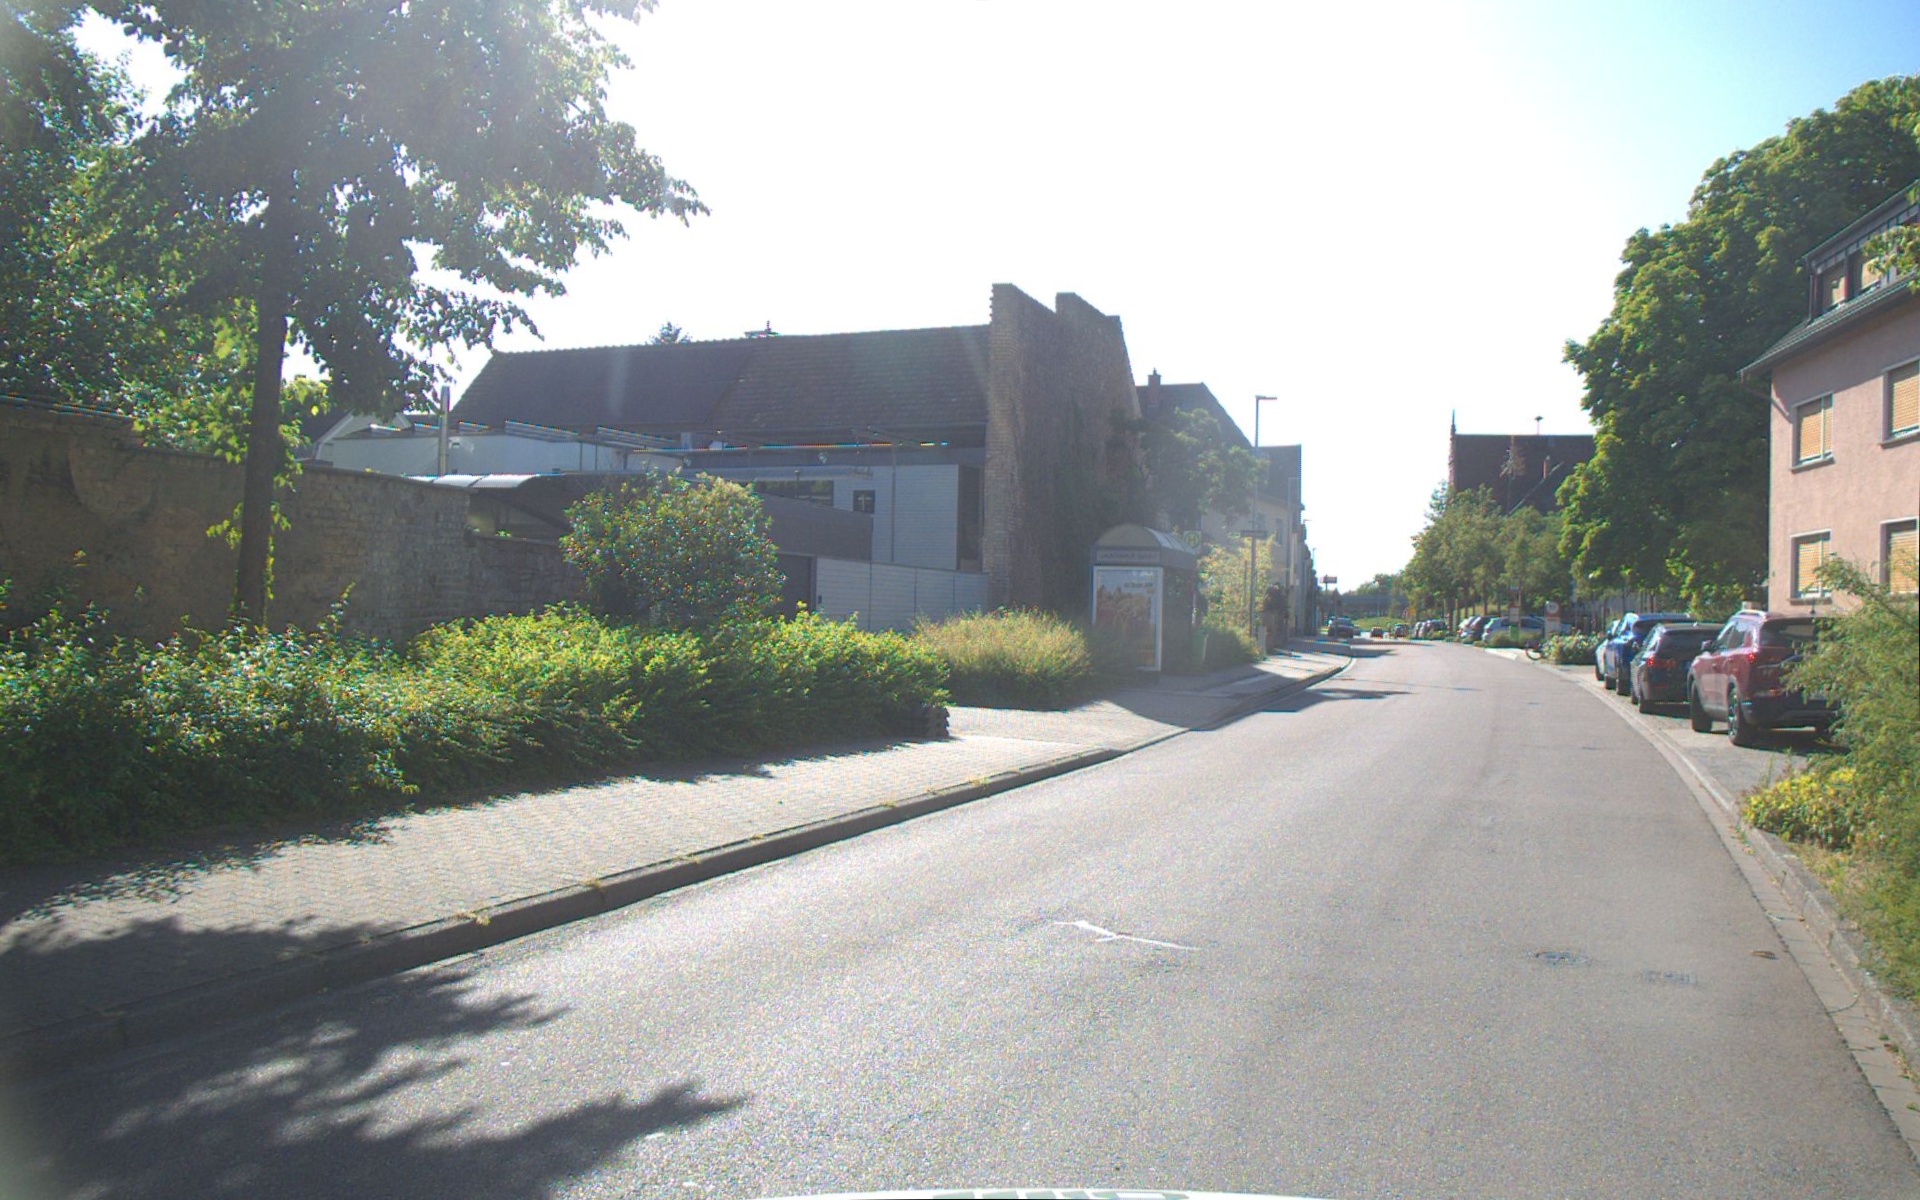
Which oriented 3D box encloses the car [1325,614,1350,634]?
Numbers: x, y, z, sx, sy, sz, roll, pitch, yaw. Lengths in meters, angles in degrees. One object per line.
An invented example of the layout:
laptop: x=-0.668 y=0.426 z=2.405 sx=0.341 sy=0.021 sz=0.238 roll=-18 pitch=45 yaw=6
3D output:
car: x=30.370 y=1.949 z=133.000 sx=1.868 sy=1.500 sz=4.003 roll=2 pitch=0 yaw=12

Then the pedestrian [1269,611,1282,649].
pedestrian: x=11.503 y=1.092 z=60.320 sx=0.392 sy=1.370 sz=0.442 roll=0 pitch=-1 yaw=20

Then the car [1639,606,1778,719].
car: x=12.539 y=0.995 z=27.912 sx=1.869 sy=1.705 sz=4.000 roll=2 pitch=0 yaw=21

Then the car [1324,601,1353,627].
car: x=23.011 y=0.863 z=100.700 sx=1.580 sy=1.500 sz=4.003 roll=2 pitch=0 yaw=12

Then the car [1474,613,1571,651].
car: x=26.212 y=1.488 z=77.160 sx=3.903 sy=1.591 sz=1.916 roll=3 pitch=0 yaw=6

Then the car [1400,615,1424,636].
car: x=42.842 y=2.431 z=156.737 sx=1.868 sy=1.852 sz=4.003 roll=2 pitch=0 yaw=12

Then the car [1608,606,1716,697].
car: x=14.420 y=1.018 z=34.142 sx=1.869 sy=1.705 sz=4.000 roll=2 pitch=0 yaw=21

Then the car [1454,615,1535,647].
car: x=29.528 y=1.695 z=91.465 sx=3.903 sy=1.591 sz=1.916 roll=3 pitch=0 yaw=6

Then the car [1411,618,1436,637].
car: x=40.345 y=2.397 z=144.012 sx=1.868 sy=1.591 sz=4.003 roll=2 pitch=0 yaw=12

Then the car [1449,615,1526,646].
car: x=30.334 y=1.747 z=95.195 sx=3.903 sy=1.591 sz=1.916 roll=3 pitch=0 yaw=6

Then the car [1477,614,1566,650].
car: x=28.321 y=1.609 z=83.515 sx=3.903 sy=1.591 sz=1.916 roll=3 pitch=0 yaw=6

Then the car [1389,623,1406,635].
car: x=55.864 y=3.700 z=211.208 sx=1.868 sy=1.500 sz=4.003 roll=2 pitch=0 yaw=12

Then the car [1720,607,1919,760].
car: x=10.908 y=0.979 z=21.145 sx=1.869 sy=1.705 sz=4.000 roll=2 pitch=0 yaw=21

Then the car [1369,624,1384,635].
car: x=59.787 y=4.279 z=237.430 sx=1.868 sy=1.500 sz=4.003 roll=2 pitch=0 yaw=12

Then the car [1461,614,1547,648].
car: x=28.592 y=1.635 z=86.993 sx=3.903 sy=1.591 sz=1.916 roll=3 pitch=0 yaw=6
